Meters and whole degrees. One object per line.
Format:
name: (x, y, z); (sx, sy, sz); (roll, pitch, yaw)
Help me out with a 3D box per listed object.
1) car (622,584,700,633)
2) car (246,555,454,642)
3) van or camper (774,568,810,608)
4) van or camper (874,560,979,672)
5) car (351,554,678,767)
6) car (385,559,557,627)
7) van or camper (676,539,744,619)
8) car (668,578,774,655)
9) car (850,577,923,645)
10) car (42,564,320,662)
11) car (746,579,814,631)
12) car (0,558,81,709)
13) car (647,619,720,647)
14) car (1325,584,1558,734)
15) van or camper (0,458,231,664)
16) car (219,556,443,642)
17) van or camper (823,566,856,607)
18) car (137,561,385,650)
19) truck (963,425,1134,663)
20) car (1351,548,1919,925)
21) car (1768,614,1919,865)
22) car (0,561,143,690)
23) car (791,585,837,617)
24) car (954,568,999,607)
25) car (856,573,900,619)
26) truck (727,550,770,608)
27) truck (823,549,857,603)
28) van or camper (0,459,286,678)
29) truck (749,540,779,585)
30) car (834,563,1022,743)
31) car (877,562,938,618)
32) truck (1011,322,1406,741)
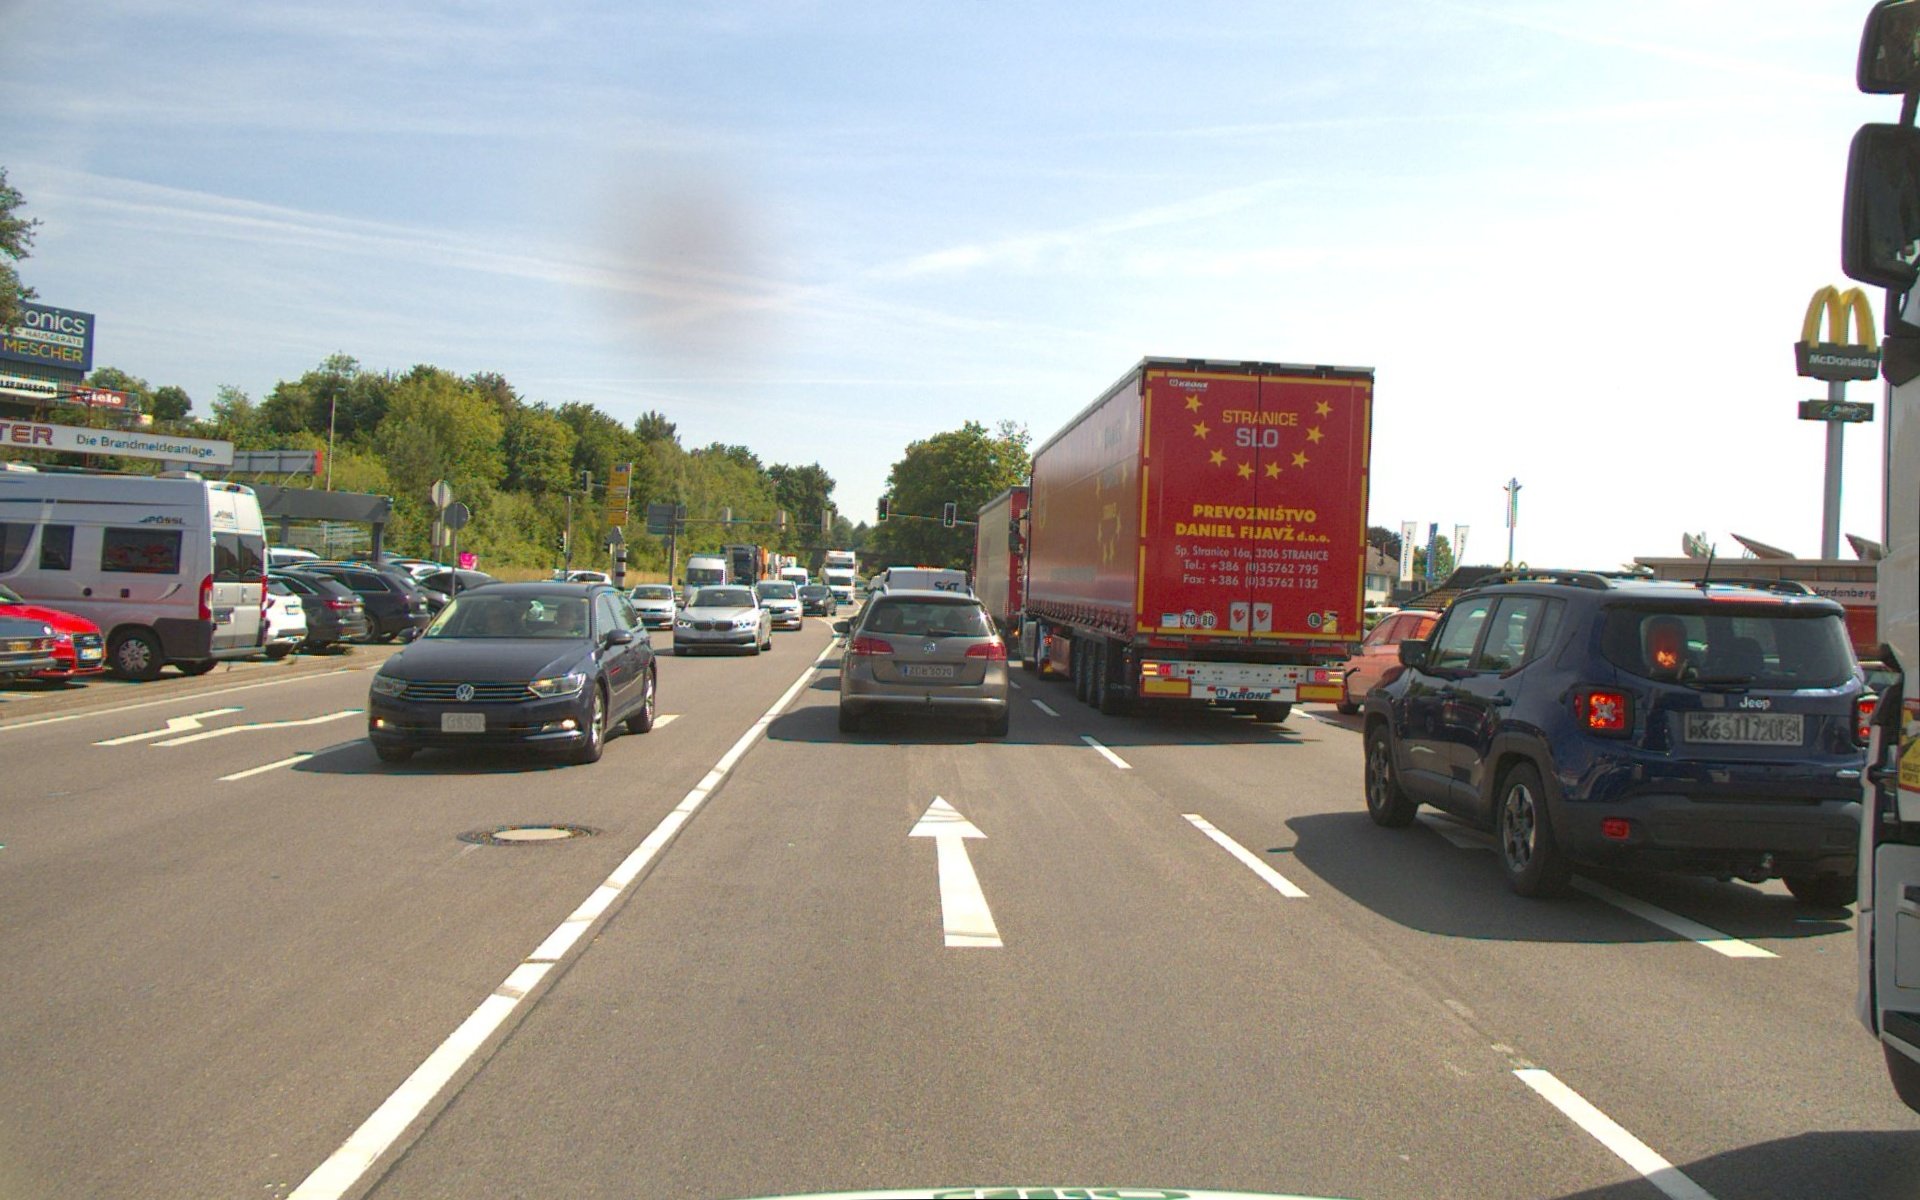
car: (-9.599, 0.259, 53.298); (1.799, 1.473, 4.080); (2, 0, -1)
car: (-13.007, -0.037, 35.439); (3.741, 1.704, 1.841); (2, 0, -3)
van or camper: (-11.539, -0.845, 113.869); (2.130, 2.595, 4.168); (3, 0, -3)
van or camper: (-0.696, 0.281, 31.807); (1.815, 1.939, 3.782); (3, 0, -3)
car: (-3.789, 0.449, 14.865); (1.769, 1.587, 4.386); (2, 0, -1)
car: (-13.700, -0.198, 46.327); (4.430, 1.723, 2.127); (2, 0, 30)
van or camper: (-10.900, -0.928, 72.536); (2.166, 3.106, 5.896); (8, 0, -5)
car: (-5.248, 0.333, 36.841); (1.871, 1.548, 4.778); (2, 0, -3)
car: (-1.844, 0.281, 41.724); (1.692, 1.545, 3.310); (3, -1, -2)
car: (-12.957, 0.213, 27.703); (3.741, 1.473, 1.841); (2, 0, -3)
car: (-6.034, 0.151, 55.881); (1.870, 1.692, 4.180); (1, 0, -1)
car: (-11.741, 0.187, 17.663); (3.636, 1.510, 1.706); (6, 0, -4)
car: (-15.800, 1.891, 94.683); (1.685, 1.473, 4.062); (2, 0, 38)
car: (6.119, 0.685, 21.514); (1.782, 1.714, 3.999); (2, 0, -1)
van or camper: (-14.635, -0.659, 25.360); (5.774, 2.923, 2.289); (3, 1, -2)
car: (-12.533, -0.025, 33.142); (3.741, 1.566, 1.841); (2, 0, -3)
van or camper: (-8.983, -0.992, 123.593); (2.180, 2.890, 5.708); (3, -1, -2)
car: (-12.767, 0.096, 30.386); (3.741, 1.473, 1.841); (2, 0, -3)
truck: (2.046, -1.332, 46.371); (3.001, 5.311, 16.999); (3, 0, -2)
car: (3.700, 0.627, 9.709); (1.782, 1.714, 3.999); (2, 0, -1)
car: (6.647, 0.879, 9.852); (1.625, 1.497, 3.999); (2, 0, -1)
car: (-12.374, 0.258, 20.513); (3.521, 1.506, 1.812); (2, 0, -2)
car: (-6.845, 0.044, 77.997); (1.631, 1.434, 3.928); (1, 0, 3)
car: (0.690, -0.504, 71.130); (1.692, 1.545, 3.310); (3, -1, -3)
car: (-3.694, -0.170, 74.698); (1.691, 1.942, 3.312); (3, -1, 1)
truck: (-14.607, -1.450, 114.398); (2.759, 3.852, 6.981); (1, 0, -6)
truck: (-10.021, -1.991, 138.390); (2.502, 4.382, 7.592); (1, 0, -2)
van or camper: (-12.439, -0.472, 22.968); (5.139, 2.779, 2.210); (2, 0, -1)
truck: (-17.428, -3.318, 147.533); (2.484, 3.852, 6.981); (1, 0, -6)
car: (-0.281, 0.508, 17.620); (1.753, 1.667, 3.504); (2, 0, 1)
car: (-1.547, -0.282, 49.992); (1.692, 1.545, 3.311); (3, -1, -1)
truck: (2.922, -0.783, 25.987); (2.898, 4.344, 16.576); (3, 0, -2)
